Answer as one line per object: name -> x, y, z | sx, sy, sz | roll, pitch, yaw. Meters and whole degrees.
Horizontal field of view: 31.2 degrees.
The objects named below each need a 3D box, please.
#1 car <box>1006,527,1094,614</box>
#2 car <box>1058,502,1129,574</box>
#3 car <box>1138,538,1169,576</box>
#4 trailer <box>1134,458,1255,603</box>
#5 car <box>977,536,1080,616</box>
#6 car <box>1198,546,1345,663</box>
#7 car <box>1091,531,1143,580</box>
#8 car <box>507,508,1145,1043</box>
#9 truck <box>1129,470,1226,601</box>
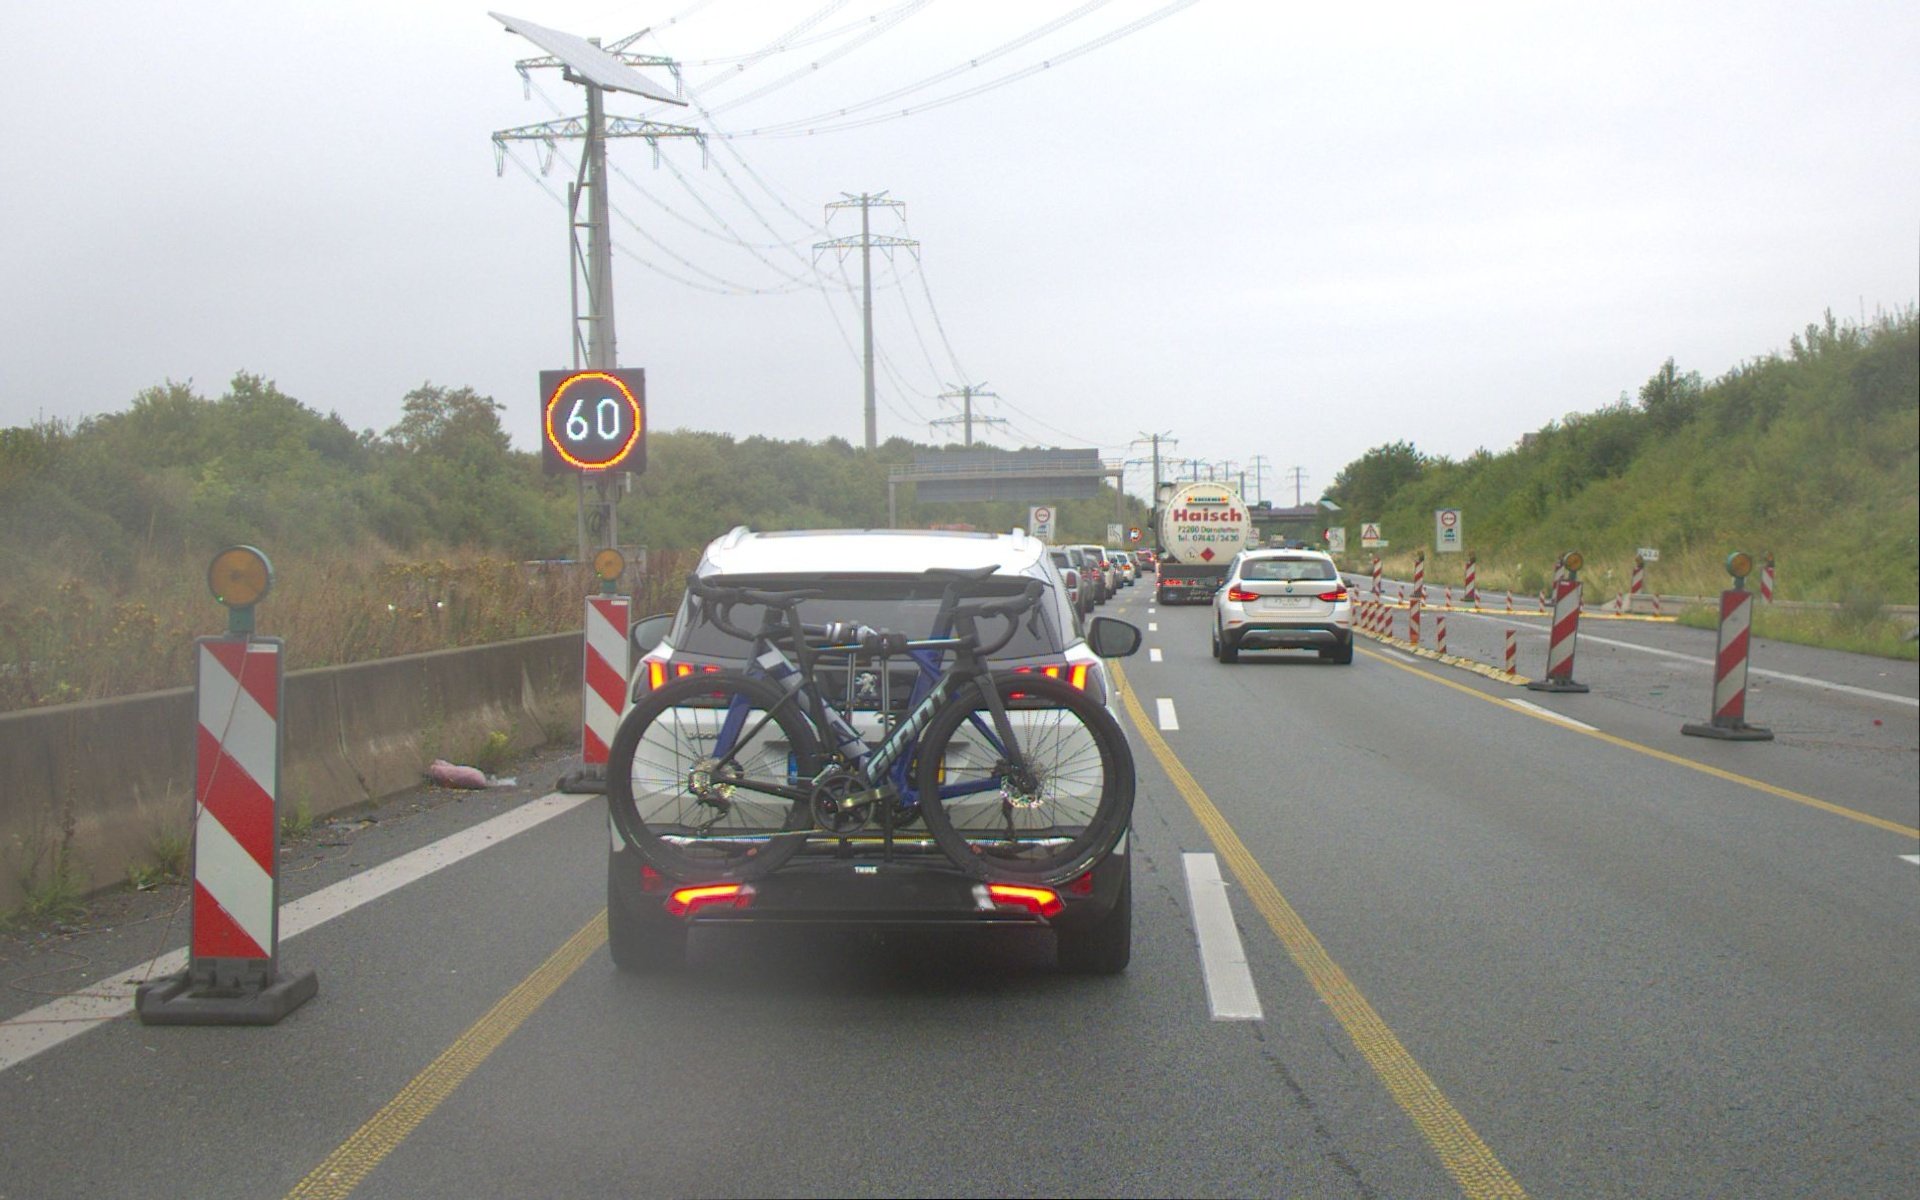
car -> 2.167, -0.741, 84.029 | 1.993, 2.007, 4.000 | -1, 1, 0
car -> 4.110, -1.901, 106.436 | 1.993, 2.007, 4.000 | 1, -2, 0
car -> 10.565, -2.352, 187.760 | 1.654, 2.007, 4.000 | 0, 1, 4
trailer -> 6.623, -1.910, 98.411 | 2.637, 3.880, 10.543 | 1, 0, 0
car -> 1.363, -0.513, 70.038 | 1.993, 1.578, 4.000 | 0, 1, 0
car -> 4.228, 0.031, 47.102 | 1.870, 1.529, 4.196 | 0, 1, 3
car -> 6.613, -1.844, 144.989 | 1.993, 2.007, 4.000 | 1, 0, 0
car -> -0.321, 0.494, 12.717 | 1.928, 1.605, 4.595 | 0, 1, 2
truck -> 6.597, -1.941, 104.795 | 2.644, 3.877, 4.030 | 1, 0, 0
